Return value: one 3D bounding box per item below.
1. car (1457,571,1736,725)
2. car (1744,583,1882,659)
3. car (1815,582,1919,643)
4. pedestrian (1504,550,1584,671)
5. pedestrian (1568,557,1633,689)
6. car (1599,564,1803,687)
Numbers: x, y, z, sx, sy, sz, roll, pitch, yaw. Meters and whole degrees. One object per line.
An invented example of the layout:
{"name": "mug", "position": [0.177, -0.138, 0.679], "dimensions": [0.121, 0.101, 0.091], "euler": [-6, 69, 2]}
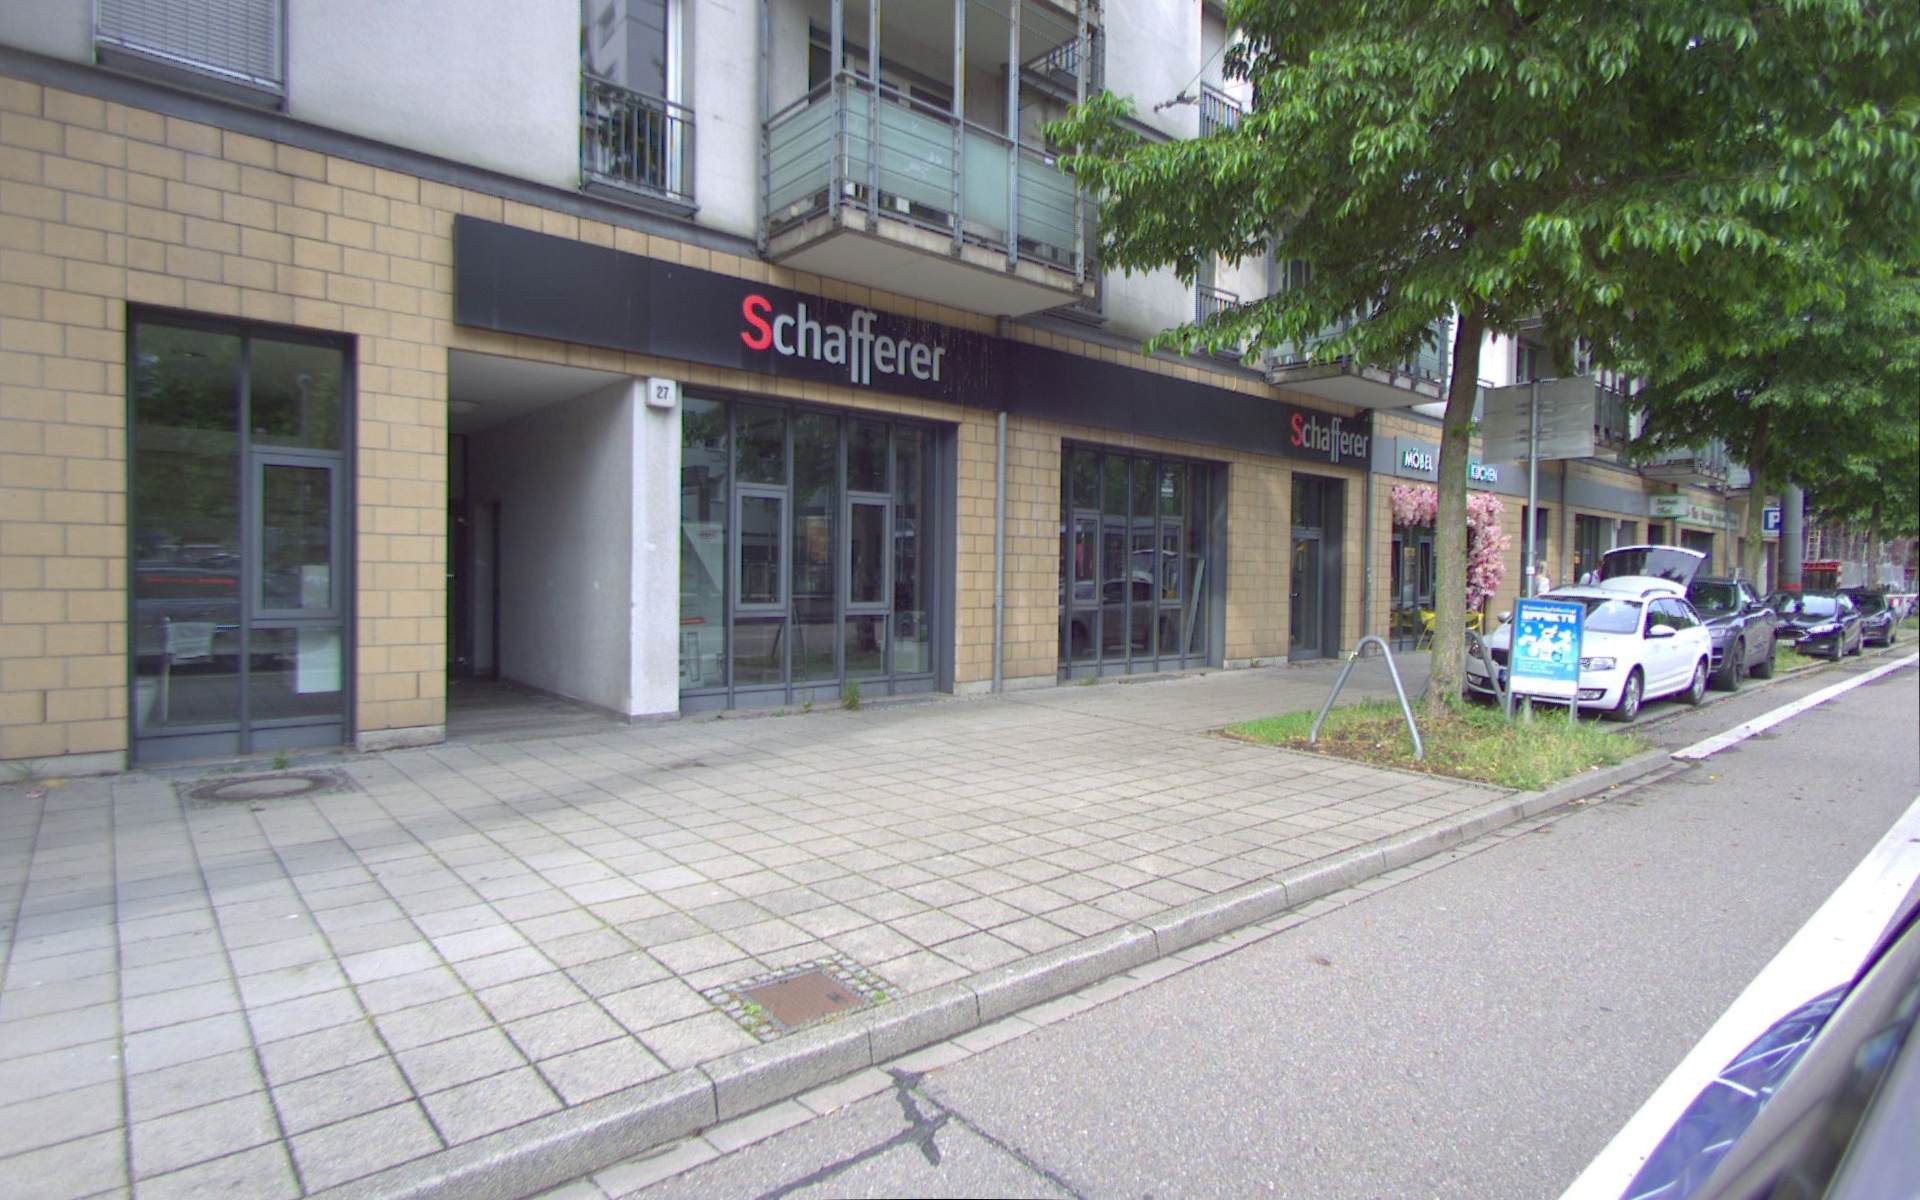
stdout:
{"name": "car", "position": [8.114, 0.472, 12.748], "dimensions": [4.233, 1.539, 1.738], "euler": [-1, 5, -41]}
{"name": "car", "position": [18.627, 0.384, 22.037], "dimensions": [4.095, 1.394, 1.612], "euler": [-1, 5, -41]}
{"name": "car", "position": [24.149, 0.285, 26.863], "dimensions": [3.603, 1.417, 1.612], "euler": [-1, 5, -41]}
{"name": "pedestrian", "position": [8.542, 0.139, 14.823], "dimensions": [0.723, 1.738, 0.619], "euler": [1, 2, -14]}
{"name": "pedestrian", "position": [9.542, 0.323, 15.077], "dimensions": [0.588, 1.907, 0.656], "euler": [0, 1, -40]}
{"name": "car", "position": [11.787, 0.316, 16.021], "dimensions": [3.732, 1.630, 1.738], "euler": [-1, 5, -41]}
